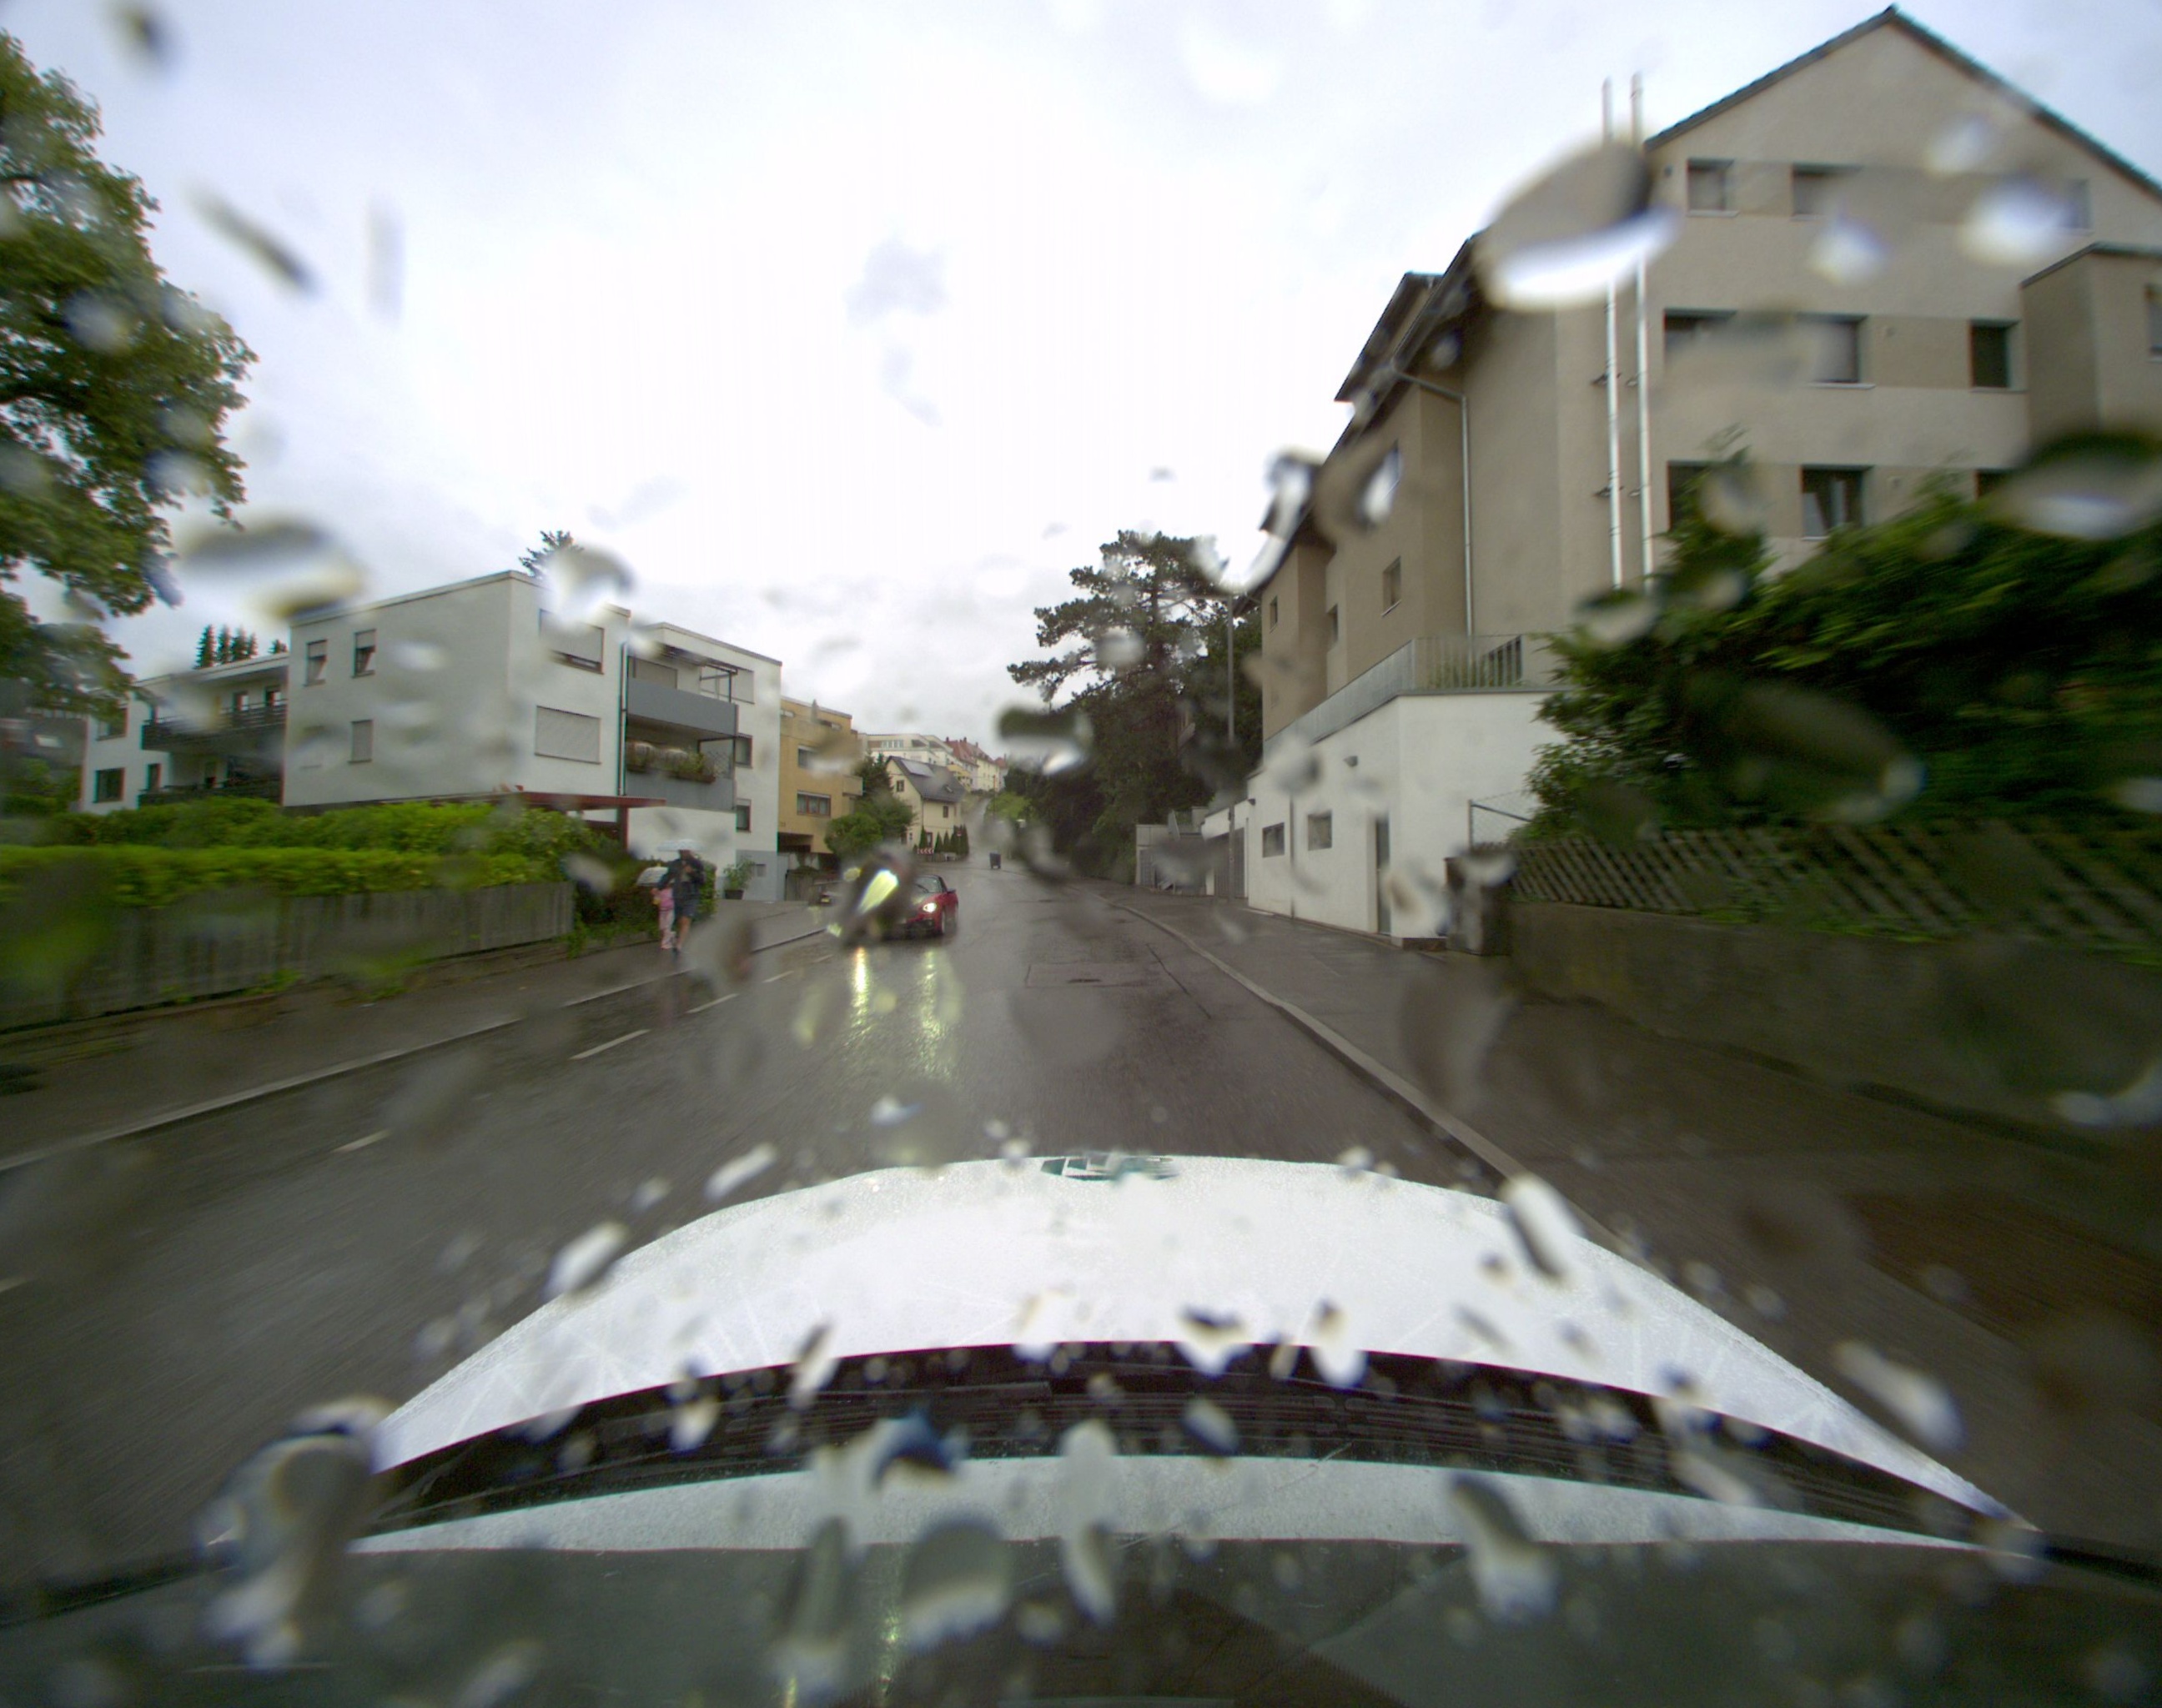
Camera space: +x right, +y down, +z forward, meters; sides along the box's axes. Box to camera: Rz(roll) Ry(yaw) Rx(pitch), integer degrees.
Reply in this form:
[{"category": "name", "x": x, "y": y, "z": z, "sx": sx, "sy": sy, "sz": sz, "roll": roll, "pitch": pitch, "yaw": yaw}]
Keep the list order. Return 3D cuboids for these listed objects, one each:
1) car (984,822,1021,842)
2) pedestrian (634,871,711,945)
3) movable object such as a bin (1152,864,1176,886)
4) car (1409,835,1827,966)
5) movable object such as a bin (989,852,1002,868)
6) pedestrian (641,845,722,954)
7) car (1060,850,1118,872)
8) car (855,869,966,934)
[{"category": "car", "x": -11.132, "y": -3.139, "z": 115.208, "sx": 4.949, "sy": 2.569, "sz": 1.896, "roll": -2, "pitch": 1, "yaw": -14}, {"category": "pedestrian", "x": -6.828, "y": 0.885, "z": 13.671, "sx": 0.753, "sy": 1.180, "sz": 1.039, "roll": 0, "pitch": 0, "yaw": 0}, {"category": "movable object such as a bin", "x": 3.618, "y": 0.923, "z": 35.614, "sx": 0.873, "sy": 0.941, "sz": 0.744, "roll": -1, "pitch": 0, "yaw": -7}, {"category": "car", "x": 6.485, "y": 0.547, "z": 10.348, "sx": 3.962, "sy": 1.457, "sz": 2.006, "roll": -1, "pitch": 0, "yaw": 10}, {"category": "movable object such as a bin", "x": -7.768, "y": 0.526, "z": 74.078, "sx": 1.080, "sy": 1.442, "sz": 1.454, "roll": 1, "pitch": 0, "yaw": -6}, {"category": "pedestrian", "x": -6.262, "y": 0.682, "z": 12.815, "sx": 0.753, "sy": 1.644, "sz": 1.039, "roll": 0, "pitch": 0, "yaw": 0}, {"category": "car", "x": 0.585, "y": 0.532, "z": 61.846, "sx": 4.143, "sy": 1.476, "sz": 1.898, "roll": -2, "pitch": 1, "yaw": -10}, {"category": "car", "x": -3.514, "y": 0.934, "z": 17.437, "sx": 1.675, "sy": 1.146, "sz": 3.996, "roll": -1, "pitch": 0, "yaw": -3}]
